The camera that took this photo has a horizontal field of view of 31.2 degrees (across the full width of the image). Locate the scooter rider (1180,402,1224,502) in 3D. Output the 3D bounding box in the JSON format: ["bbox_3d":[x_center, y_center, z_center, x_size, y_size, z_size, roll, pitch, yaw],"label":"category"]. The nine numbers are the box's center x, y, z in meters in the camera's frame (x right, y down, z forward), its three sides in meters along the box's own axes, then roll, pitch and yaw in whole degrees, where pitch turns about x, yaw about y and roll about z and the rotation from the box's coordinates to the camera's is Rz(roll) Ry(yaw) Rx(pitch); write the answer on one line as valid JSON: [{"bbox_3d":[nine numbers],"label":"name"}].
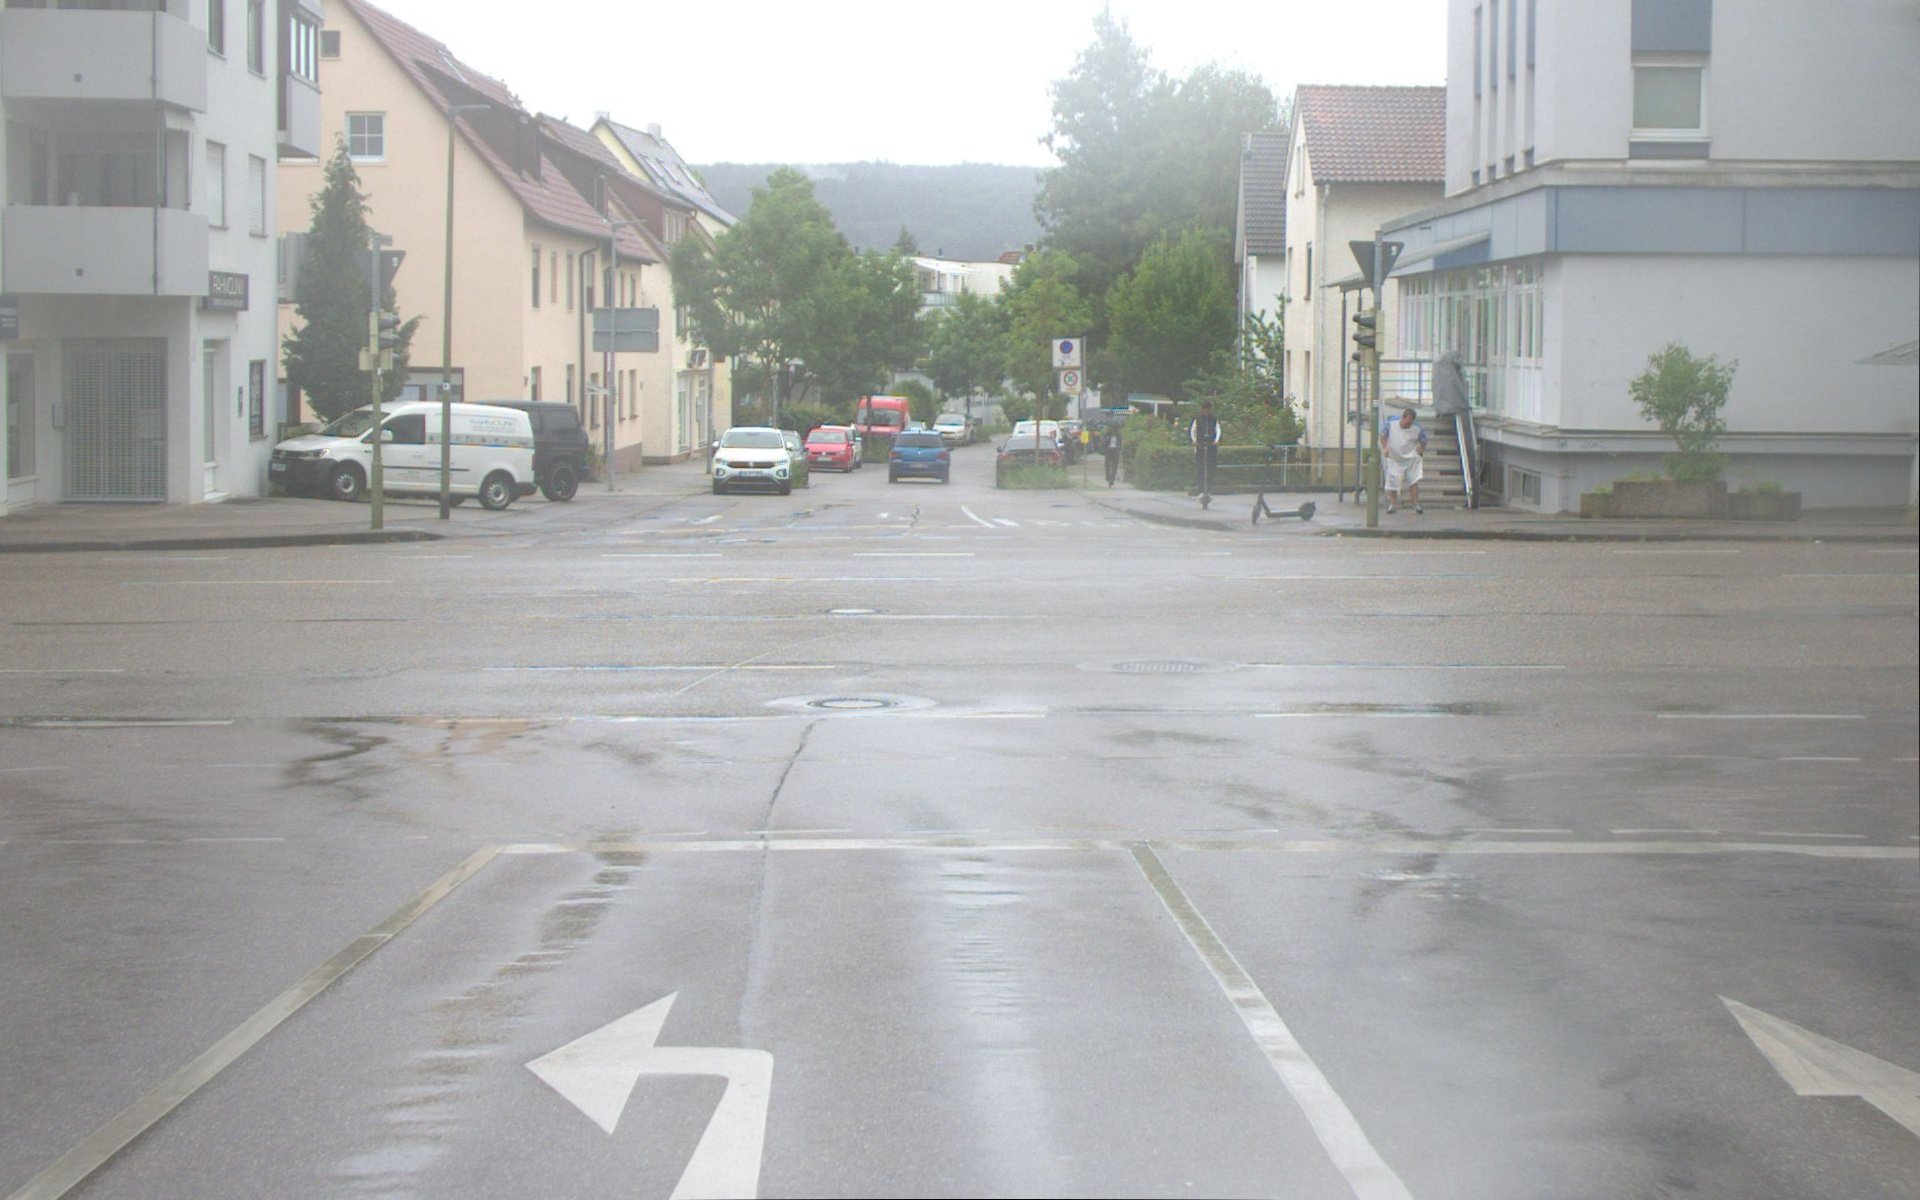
[{"bbox_3d":[4.388,-2.684,62.290,0.752,1.789,0.673,-1,3,2],"label":"scooter rider"}]

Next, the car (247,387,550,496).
[{"bbox_3d":[-9.791,-2.783,60.146,4.830,1.829,2.000,-3,3,-38],"label":"car"}]

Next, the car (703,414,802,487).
[{"bbox_3d":[-4.826,-3.506,80.456,1.993,1.620,4.192,-1,3,0],"label":"car"}]

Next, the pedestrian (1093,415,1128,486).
[{"bbox_3d":[3.987,-3.951,91.154,0.745,1.842,0.526,3,2,-6],"label":"pedestrian"}]

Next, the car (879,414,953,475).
[{"bbox_3d":[-1.270,-4.441,98.076,1.993,1.678,4.001,-1,3,-2],"label":"car"}]

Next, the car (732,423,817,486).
[{"bbox_3d":[-4.934,-3.890,91.856,1.993,1.620,4.192,-1,3,0],"label":"car"}]

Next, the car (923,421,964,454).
[{"bbox_3d":[-0.803,-7.907,167.065,1.901,1.553,4.192,-1,3,0],"label":"car"}]

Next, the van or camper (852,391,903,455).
[{"bbox_3d":[-3.338,-7.163,139.164,1.901,2.504,4.239,-1,3,0],"label":"van or camper"}]

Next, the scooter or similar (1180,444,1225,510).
[{"bbox_3d":[4.387,-2.228,62.301,0.757,1.167,1.314,-1,3,2],"label":"scooter or similar"}]

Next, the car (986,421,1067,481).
[{"bbox_3d":[1.806,-4.080,94.140,2.146,1.583,4.128,-1,3,1],"label":"car"}]

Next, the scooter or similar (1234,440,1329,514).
[{"bbox_3d":[4.773,-1.837,51.112,1.268,1.077,0.877,-1,3,-4],"label":"scooter or similar"}]

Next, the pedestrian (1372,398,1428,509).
[{"bbox_3d":[6.683,-2.230,52.220,0.647,1.641,0.526,3,2,-6],"label":"pedestrian"}]

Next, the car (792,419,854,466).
[{"bbox_3d":[-4.644,-5.349,116.882,1.901,1.553,4.192,-1,3,0],"label":"car"}]

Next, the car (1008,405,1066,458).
[{"bbox_3d":[2.583,-5.692,116.185,1.901,1.739,4.192,-1,3,0],"label":"car"}]
